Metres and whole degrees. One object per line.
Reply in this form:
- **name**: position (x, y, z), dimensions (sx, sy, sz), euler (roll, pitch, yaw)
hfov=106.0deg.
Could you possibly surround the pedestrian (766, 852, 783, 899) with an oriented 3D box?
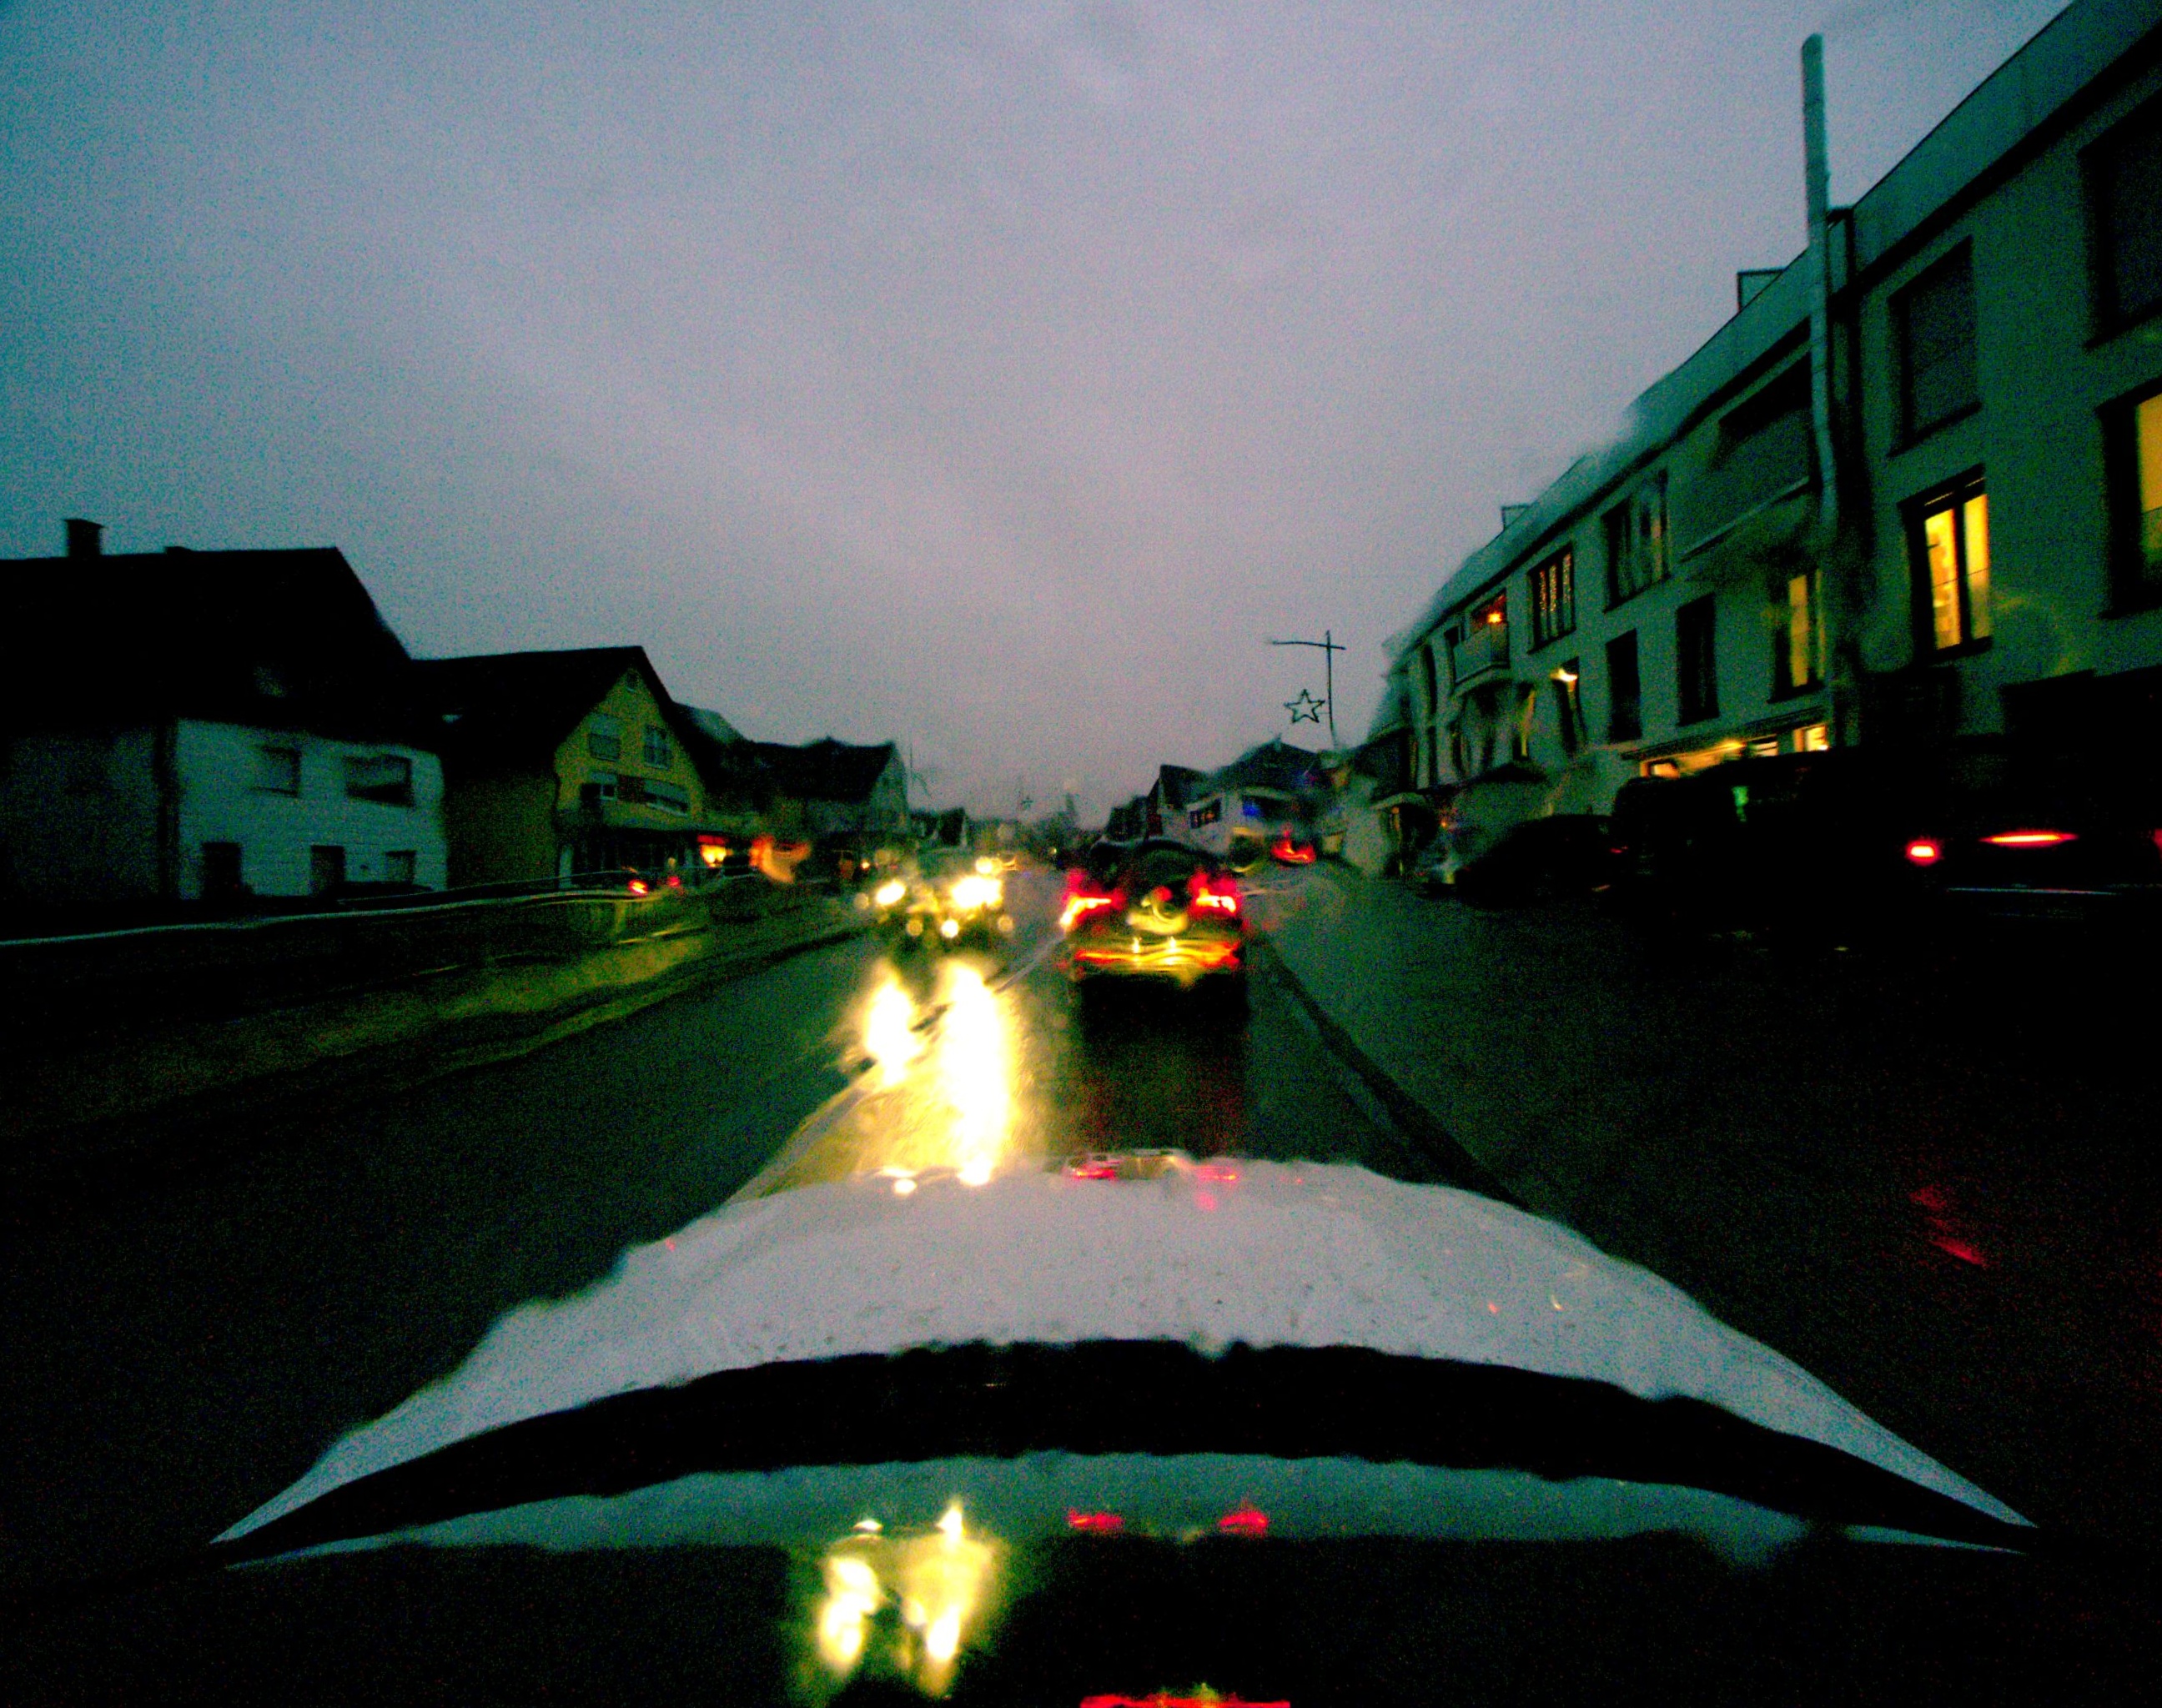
- **pedestrian**: position (-11.439, 0.797, 30.396), dimensions (0.498, 1.701, 0.707), euler (-3, 0, -22)

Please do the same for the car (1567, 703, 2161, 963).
- **car**: position (8.161, -0.180, 8.718), dimensions (4.544, 1.920, 1.951), euler (-7, -1, 3)

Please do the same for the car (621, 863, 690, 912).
- **car**: position (-15.733, 1.166, 30.283), dimensions (1.829, 1.613, 4.026), euler (-2, 0, -22)

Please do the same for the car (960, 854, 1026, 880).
- **car**: position (-5.517, 0.815, 50.907), dimensions (3.950, 1.418, 2.012), euler (-1, 4, 45)

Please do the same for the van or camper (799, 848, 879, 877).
- **van or camper**: position (-18.143, 0.644, 61.159), dimensions (5.486, 1.954, 2.009), euler (-2, 0, 18)

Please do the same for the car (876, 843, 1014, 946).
- **car**: position (-2.422, 0.658, 15.464), dimensions (1.730, 1.653, 4.002), euler (-2, 0, 2)

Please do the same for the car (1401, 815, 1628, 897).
- **car**: position (9.805, 0.057, 18.631), dimensions (4.194, 1.460, 1.792), euler (-5, -1, -2)

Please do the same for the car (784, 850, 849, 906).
- **car**: position (-10.183, 0.858, 31.161), dimensions (2.046, 1.925, 4.026), euler (-2, 0, -22)

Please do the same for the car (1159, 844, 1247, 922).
- **car**: position (2.639, 0.570, 18.366), dimensions (1.674, 1.453, 4.006), euler (-2, 1, 5)

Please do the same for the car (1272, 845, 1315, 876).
- **car**: position (15.288, 0.447, 58.783), dimensions (2.147, 1.991, 4.506), euler (-5, 0, 5)

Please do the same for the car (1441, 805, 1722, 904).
- **car**: position (9.398, 0.014, 15.525), dimensions (4.194, 1.460, 1.792), euler (-5, -1, -2)

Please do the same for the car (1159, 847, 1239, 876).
- **car**: position (6.607, 0.438, 45.758), dimensions (3.997, 1.479, 1.988), euler (1, -2, -18)

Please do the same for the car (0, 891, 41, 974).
- **car**: position (-21.627, 1.548, 14.021), dimensions (1.903, 1.562, 4.219), euler (-2, 0, 2)

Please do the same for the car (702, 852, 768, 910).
- **car**: position (-12.828, 0.939, 30.287), dimensions (2.046, 1.925, 4.026), euler (-2, 0, -22)

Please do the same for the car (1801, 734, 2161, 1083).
- **car**: position (7.375, 0.040, 5.076), dimensions (4.168, 1.638, 1.802), euler (-8, 0, -4)

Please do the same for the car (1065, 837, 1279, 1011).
- **car**: position (1.029, 0.630, 9.696), dimensions (1.955, 1.594, 4.319), euler (0, 0, 5)
